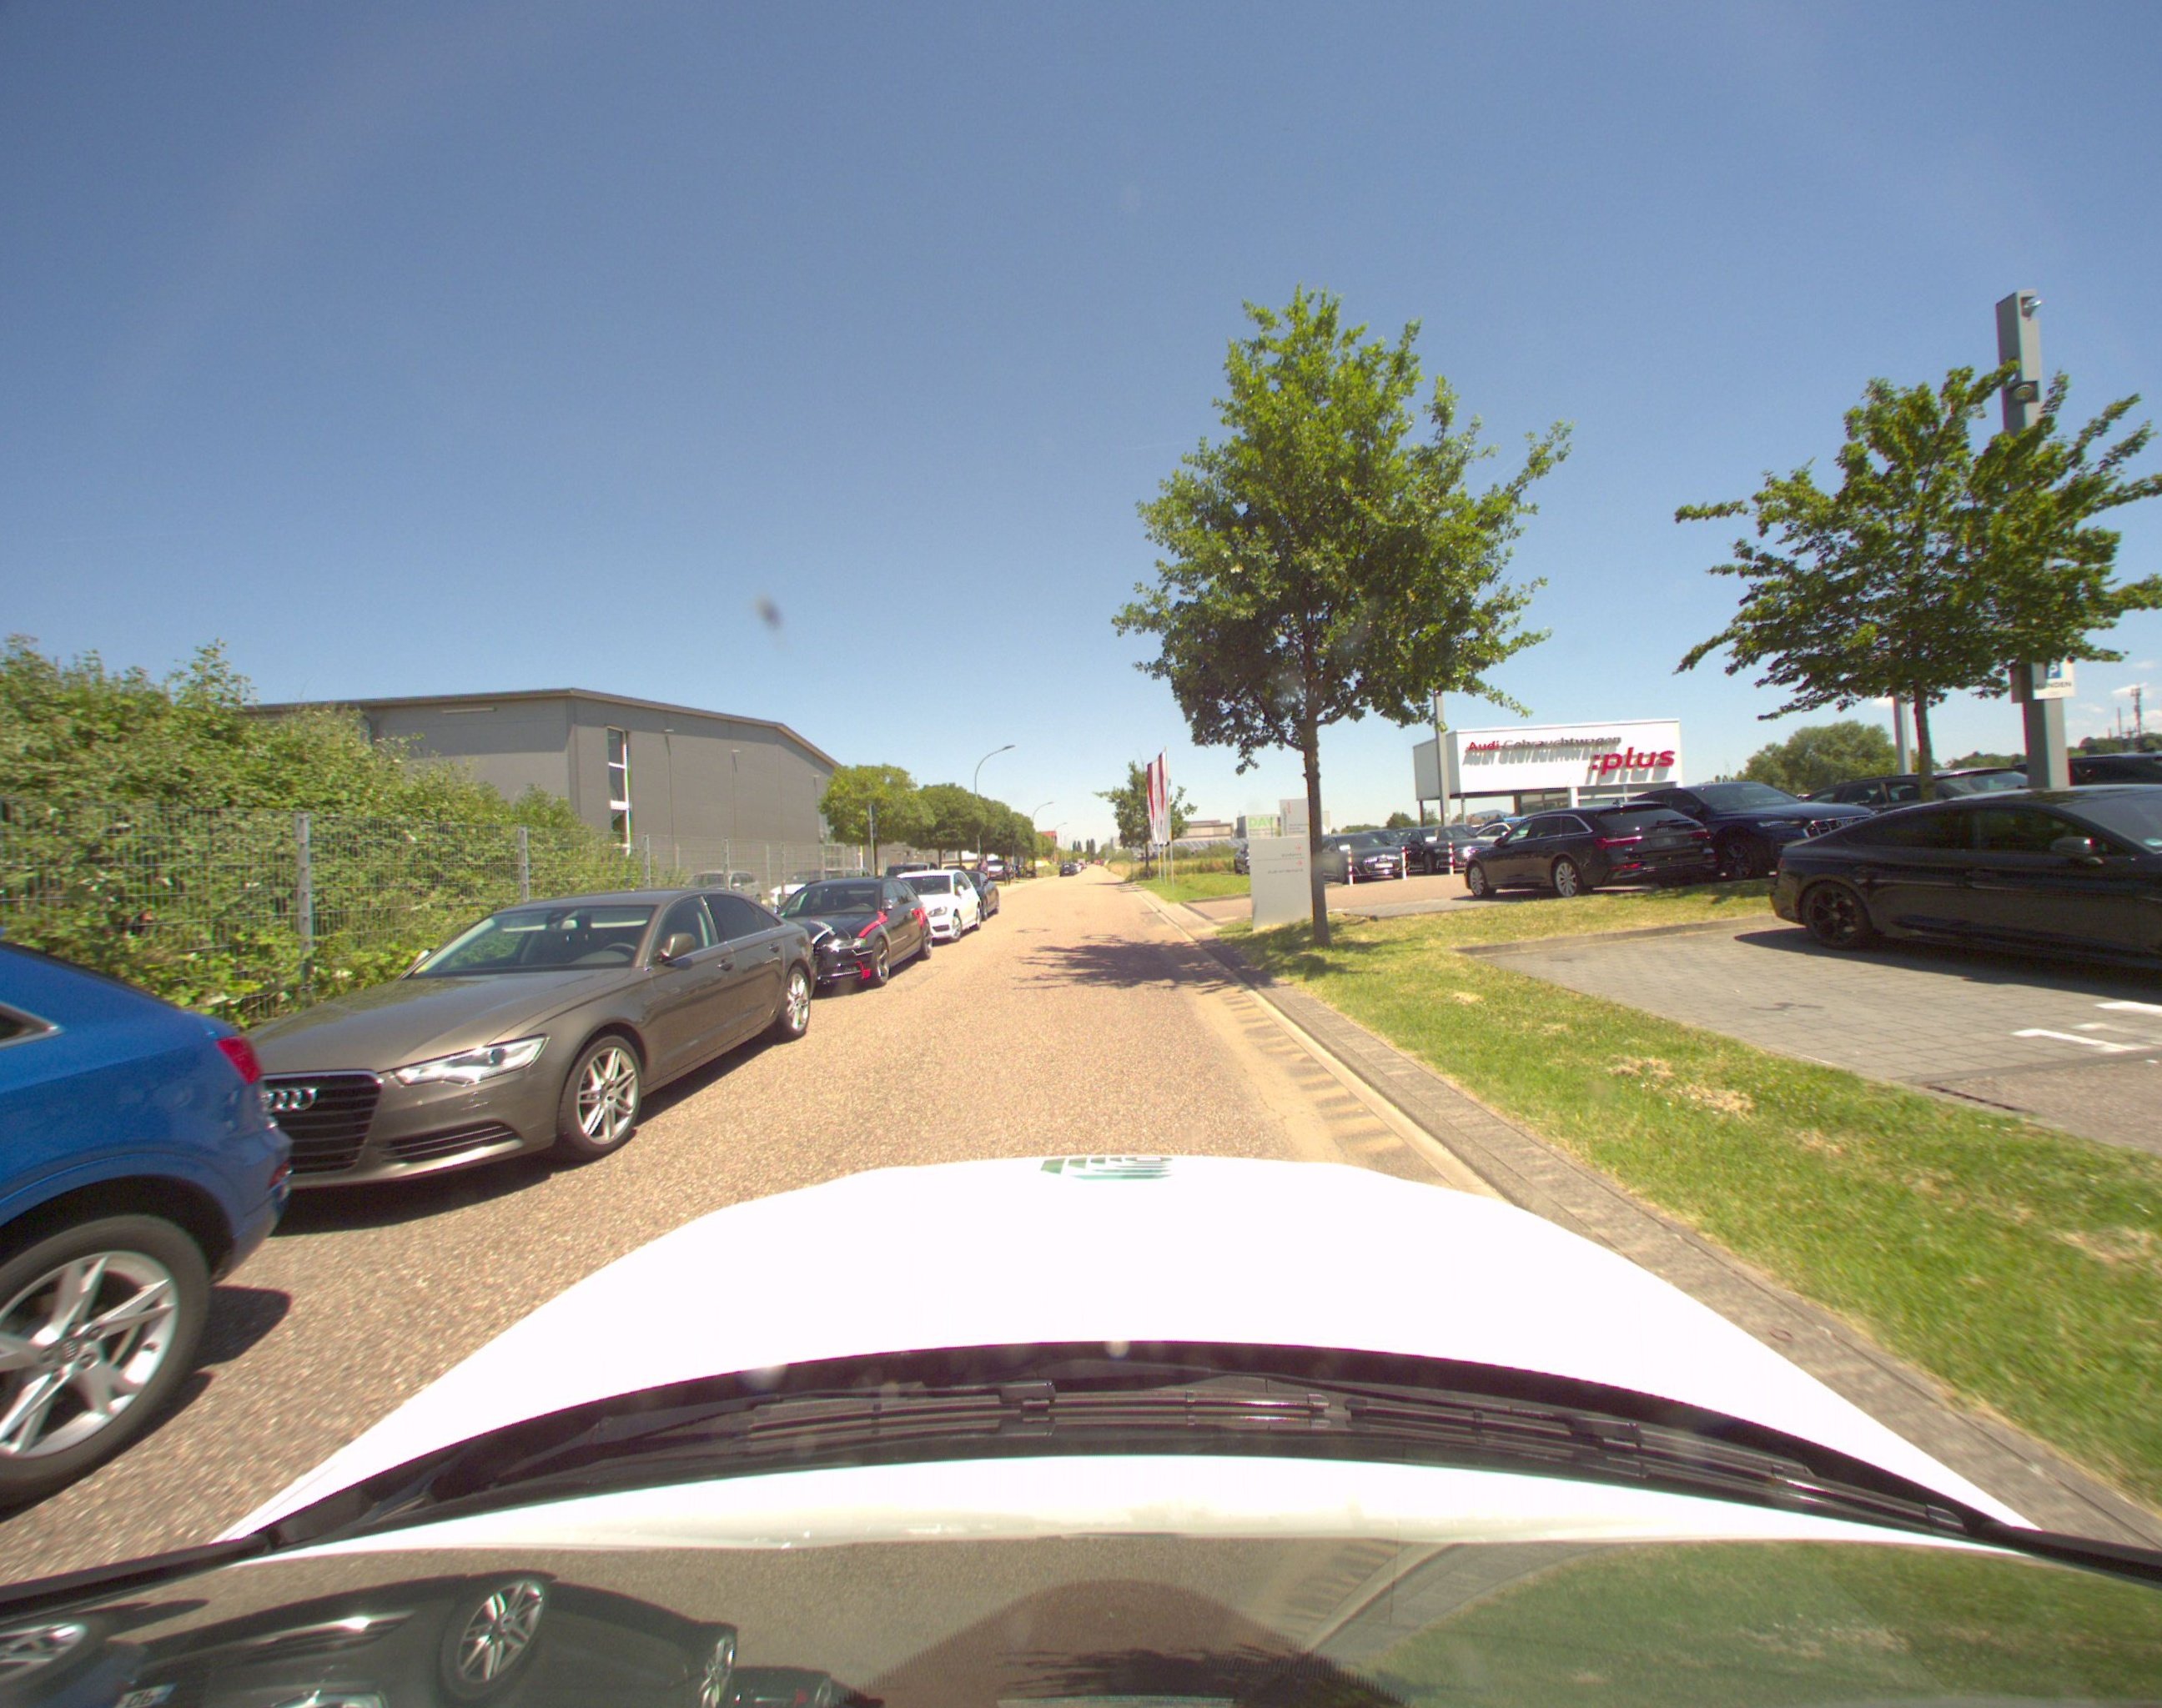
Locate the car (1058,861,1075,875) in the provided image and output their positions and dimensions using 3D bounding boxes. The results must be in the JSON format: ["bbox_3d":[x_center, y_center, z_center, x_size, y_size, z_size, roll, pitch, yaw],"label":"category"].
[{"bbox_3d":[-1.728,1.732,99.247,1.921,1.567,4.189,-4,-1,0],"label":"car"}]

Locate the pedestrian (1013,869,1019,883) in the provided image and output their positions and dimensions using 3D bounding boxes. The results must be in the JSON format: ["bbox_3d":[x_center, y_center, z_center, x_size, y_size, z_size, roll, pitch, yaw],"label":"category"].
[{"bbox_3d":[-7.255,2.460,90.876,0.503,1.595,0.753,0,-1,3],"label":"pedestrian"}]

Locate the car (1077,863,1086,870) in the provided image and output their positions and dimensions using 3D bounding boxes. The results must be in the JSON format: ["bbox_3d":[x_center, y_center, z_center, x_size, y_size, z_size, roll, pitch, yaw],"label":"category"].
[{"bbox_3d":[0.103,2.791,182.262,1.780,1.520,3.983,-4,-1,1],"label":"car"}]

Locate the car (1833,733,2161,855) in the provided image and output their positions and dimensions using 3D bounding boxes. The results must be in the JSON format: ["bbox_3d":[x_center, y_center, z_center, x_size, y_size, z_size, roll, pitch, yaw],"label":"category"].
[{"bbox_3d":[15.728,-0.897,13.453,1.955,1.457,4.986,-5,-2,1],"label":"car"}]

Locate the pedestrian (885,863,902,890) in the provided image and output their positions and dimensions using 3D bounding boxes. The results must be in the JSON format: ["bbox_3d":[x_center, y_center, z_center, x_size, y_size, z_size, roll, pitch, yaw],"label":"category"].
[{"bbox_3d":[-12.299,1.442,53.321,0.837,1.713,0.965,-2,-1,0],"label":"pedestrian"}]

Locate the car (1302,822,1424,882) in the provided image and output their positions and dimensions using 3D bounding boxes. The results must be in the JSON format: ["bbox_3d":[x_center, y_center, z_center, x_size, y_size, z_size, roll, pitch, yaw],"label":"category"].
[{"bbox_3d":[8.722,-0.036,25.776,2.018,1.514,5.240,-6,-1,1],"label":"car"}]

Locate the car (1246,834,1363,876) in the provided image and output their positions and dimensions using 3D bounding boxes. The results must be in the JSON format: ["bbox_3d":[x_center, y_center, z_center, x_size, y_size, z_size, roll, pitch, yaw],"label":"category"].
[{"bbox_3d":[9.772,0.052,35.871,4.516,1.457,2.030,-5,-1,-2],"label":"car"}]

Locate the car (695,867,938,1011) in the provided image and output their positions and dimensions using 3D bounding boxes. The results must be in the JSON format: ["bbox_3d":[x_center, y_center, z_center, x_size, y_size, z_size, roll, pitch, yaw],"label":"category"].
[{"bbox_3d":[-3.442,1.016,11.645,1.818,1.500,4.521,-4,-1,1],"label":"car"}]

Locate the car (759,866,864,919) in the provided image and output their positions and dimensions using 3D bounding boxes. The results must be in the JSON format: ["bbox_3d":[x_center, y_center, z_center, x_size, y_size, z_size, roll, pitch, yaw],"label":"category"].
[{"bbox_3d":[-8.689,1.188,26.675,1.817,1.500,4.330,-1,0,3],"label":"car"}]

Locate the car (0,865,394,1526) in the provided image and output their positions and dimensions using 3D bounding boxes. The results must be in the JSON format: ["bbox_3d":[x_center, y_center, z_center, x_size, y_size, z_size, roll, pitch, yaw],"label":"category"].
[{"bbox_3d":[-3.526,0.863,0.845,1.818,1.570,4.385,-4,-1,0],"label":"car"}]

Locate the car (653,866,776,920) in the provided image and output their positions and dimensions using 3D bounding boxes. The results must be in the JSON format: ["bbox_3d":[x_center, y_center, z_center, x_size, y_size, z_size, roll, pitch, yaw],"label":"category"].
[{"bbox_3d":[-11.603,1.184,26.124,1.817,1.500,4.262,-1,0,3],"label":"car"}]

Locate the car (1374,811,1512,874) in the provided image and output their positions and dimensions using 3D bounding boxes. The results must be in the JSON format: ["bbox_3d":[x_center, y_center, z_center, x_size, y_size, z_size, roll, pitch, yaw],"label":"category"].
[{"bbox_3d":[11.226,-0.296,25.762,1.890,1.573,5.477,-6,-1,1],"label":"car"}]

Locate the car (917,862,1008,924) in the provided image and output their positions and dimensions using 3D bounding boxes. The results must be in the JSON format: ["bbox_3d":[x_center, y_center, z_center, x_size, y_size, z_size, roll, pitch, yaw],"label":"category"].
[{"bbox_3d":[-3.323,1.039,23.632,1.818,1.500,4.526,-4,-1,1],"label":"car"}]

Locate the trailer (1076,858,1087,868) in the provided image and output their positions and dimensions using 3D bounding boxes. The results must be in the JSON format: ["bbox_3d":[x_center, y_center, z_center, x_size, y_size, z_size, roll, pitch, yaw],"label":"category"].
[{"bbox_3d":[0.141,2.150,193.283,2.193,2.137,4.286,-4,-1,1],"label":"trailer"}]

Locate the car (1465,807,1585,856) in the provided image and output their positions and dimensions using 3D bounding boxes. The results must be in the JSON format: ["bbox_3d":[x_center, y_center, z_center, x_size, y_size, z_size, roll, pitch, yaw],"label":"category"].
[{"bbox_3d":[17.027,-0.796,31.550,2.018,1.590,4.780,-5,-1,1],"label":"car"}]

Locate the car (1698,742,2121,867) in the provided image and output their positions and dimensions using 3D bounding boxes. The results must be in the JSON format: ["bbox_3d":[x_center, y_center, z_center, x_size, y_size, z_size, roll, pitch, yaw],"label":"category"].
[{"bbox_3d":[13.267,-0.643,13.686,1.955,1.457,4.986,-5,-2,1],"label":"car"}]

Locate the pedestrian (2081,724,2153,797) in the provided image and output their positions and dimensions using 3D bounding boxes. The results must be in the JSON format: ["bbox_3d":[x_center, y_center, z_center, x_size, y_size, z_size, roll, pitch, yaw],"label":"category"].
[{"bbox_3d":[27.219,-2.440,21.410,0.767,1.776,0.746,-4,-1,5],"label":"pedestrian"}]

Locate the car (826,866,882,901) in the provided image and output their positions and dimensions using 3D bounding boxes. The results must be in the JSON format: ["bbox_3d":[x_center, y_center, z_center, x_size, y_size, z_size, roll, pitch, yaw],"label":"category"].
[{"bbox_3d":[-10.520,1.323,37.921,1.679,1.500,3.700,-2,-1,-3],"label":"car"}]

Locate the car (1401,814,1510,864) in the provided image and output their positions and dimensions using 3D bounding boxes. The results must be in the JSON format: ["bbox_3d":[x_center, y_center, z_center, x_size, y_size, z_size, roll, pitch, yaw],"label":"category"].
[{"bbox_3d":[14.338,-0.519,31.519,2.018,1.590,4.780,-5,-1,1],"label":"car"}]

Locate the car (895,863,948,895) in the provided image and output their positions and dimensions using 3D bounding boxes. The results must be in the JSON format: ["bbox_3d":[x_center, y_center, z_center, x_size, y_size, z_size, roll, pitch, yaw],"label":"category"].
[{"bbox_3d":[-8.385,1.270,43.153,1.759,1.573,4.541,-2,-1,1],"label":"car"}]

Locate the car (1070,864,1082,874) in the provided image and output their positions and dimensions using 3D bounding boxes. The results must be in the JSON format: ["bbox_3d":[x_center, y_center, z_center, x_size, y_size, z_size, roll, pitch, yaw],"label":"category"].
[{"bbox_3d":[-0.867,2.653,141.996,1.780,1.520,3.983,-4,-1,1],"label":"car"}]

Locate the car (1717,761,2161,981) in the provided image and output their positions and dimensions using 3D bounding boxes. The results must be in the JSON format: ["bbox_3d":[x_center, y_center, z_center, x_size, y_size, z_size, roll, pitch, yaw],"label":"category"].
[{"bbox_3d":[7.961,0.026,6.546,1.955,1.366,4.721,-6,1,1],"label":"car"}]

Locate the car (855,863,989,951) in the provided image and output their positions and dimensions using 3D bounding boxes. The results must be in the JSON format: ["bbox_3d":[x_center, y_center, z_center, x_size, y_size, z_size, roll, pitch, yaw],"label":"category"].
[{"bbox_3d":[-3.207,1.007,17.272,1.818,1.500,4.260,-4,-1,1],"label":"car"}]

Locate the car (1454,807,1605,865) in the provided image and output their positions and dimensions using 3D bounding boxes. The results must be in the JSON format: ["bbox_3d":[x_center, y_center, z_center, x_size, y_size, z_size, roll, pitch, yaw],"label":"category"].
[{"bbox_3d":[14.160,-0.510,26.140,2.018,1.456,5.078,-6,-1,1],"label":"car"}]

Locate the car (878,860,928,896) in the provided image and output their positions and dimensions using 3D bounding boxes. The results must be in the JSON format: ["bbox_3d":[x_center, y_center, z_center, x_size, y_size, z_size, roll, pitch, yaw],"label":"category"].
[{"bbox_3d":[-8.341,1.092,38.353,1.679,1.500,3.699,-3,0,-4],"label":"car"}]

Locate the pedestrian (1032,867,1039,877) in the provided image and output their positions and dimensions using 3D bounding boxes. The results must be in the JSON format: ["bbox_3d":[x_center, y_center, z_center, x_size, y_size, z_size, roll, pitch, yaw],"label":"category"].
[{"bbox_3d":[-5.135,1.994,91.657,0.747,1.099,0.647,0,-1,5],"label":"pedestrian"}]

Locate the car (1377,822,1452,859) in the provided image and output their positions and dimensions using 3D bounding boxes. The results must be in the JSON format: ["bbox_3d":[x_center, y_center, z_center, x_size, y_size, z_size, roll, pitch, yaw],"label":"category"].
[{"bbox_3d":[17.386,-0.669,42.698,2.017,1.679,4.811,-5,-1,2],"label":"car"}]

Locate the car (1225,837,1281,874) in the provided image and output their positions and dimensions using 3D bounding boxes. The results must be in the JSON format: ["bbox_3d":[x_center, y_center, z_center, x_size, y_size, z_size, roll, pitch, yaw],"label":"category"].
[{"bbox_3d":[9.043,0.081,43.227,2.017,1.692,5.111,-5,-1,2],"label":"car"}]

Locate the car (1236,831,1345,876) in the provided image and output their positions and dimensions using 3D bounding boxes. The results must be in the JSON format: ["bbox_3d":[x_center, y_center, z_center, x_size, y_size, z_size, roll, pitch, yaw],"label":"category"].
[{"bbox_3d":[9.812,-0.024,38.472,4.516,1.692,2.030,-5,-1,-2],"label":"car"}]

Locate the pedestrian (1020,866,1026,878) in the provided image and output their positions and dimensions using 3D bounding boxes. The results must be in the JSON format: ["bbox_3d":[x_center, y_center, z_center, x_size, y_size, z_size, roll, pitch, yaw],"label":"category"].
[{"bbox_3d":[-5.785,1.792,81.197,0.475,1.150,0.556,-1,-3,11],"label":"pedestrian"}]

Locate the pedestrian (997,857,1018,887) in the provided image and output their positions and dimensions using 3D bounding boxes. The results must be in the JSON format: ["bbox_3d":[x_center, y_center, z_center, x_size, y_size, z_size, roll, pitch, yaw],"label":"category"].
[{"bbox_3d":[-4.842,1.187,53.685,0.832,1.972,0.971,-2,-1,41],"label":"pedestrian"}]

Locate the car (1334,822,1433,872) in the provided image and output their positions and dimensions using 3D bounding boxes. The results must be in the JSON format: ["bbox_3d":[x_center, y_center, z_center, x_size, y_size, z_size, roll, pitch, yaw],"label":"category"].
[{"bbox_3d":[11.457,-0.236,31.279,2.018,1.590,4.780,-5,-1,1],"label":"car"}]

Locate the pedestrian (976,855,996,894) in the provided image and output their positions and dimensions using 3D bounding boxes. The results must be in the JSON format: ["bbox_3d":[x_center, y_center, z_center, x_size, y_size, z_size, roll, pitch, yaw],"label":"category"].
[{"bbox_3d":[-4.478,0.978,38.559,0.741,1.801,1.135,-1,-1,3],"label":"pedestrian"}]

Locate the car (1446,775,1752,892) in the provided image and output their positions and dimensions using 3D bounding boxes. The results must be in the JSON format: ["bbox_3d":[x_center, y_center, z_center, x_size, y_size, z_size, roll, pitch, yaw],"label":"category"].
[{"bbox_3d":[8.285,-0.192,13.769,1.955,1.457,4.986,-5,-2,1],"label":"car"}]

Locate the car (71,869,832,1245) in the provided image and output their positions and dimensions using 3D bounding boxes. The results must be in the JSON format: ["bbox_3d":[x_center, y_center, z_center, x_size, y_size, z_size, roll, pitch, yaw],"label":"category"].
[{"bbox_3d":[-3.494,0.946,5.877,1.818,1.500,4.521,-4,-1,1],"label":"car"}]

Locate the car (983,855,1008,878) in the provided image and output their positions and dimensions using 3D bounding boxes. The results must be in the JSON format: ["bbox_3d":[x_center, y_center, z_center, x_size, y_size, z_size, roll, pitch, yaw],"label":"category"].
[{"bbox_3d":[-7.822,1.175,75.007,1.832,2.019,5.123,-1,-1,-1],"label":"car"}]

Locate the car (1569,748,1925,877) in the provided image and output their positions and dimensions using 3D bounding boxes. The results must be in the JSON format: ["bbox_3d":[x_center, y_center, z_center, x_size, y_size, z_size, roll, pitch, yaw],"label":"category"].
[{"bbox_3d":[10.857,-0.522,13.952,1.955,1.598,4.986,-5,-2,1],"label":"car"}]

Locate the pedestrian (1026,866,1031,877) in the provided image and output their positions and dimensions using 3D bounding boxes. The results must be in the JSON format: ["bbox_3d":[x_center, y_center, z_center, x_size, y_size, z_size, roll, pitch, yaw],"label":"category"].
[{"bbox_3d":[-5.988,2.007,92.623,0.503,1.191,0.753,0,-1,3],"label":"pedestrian"}]
